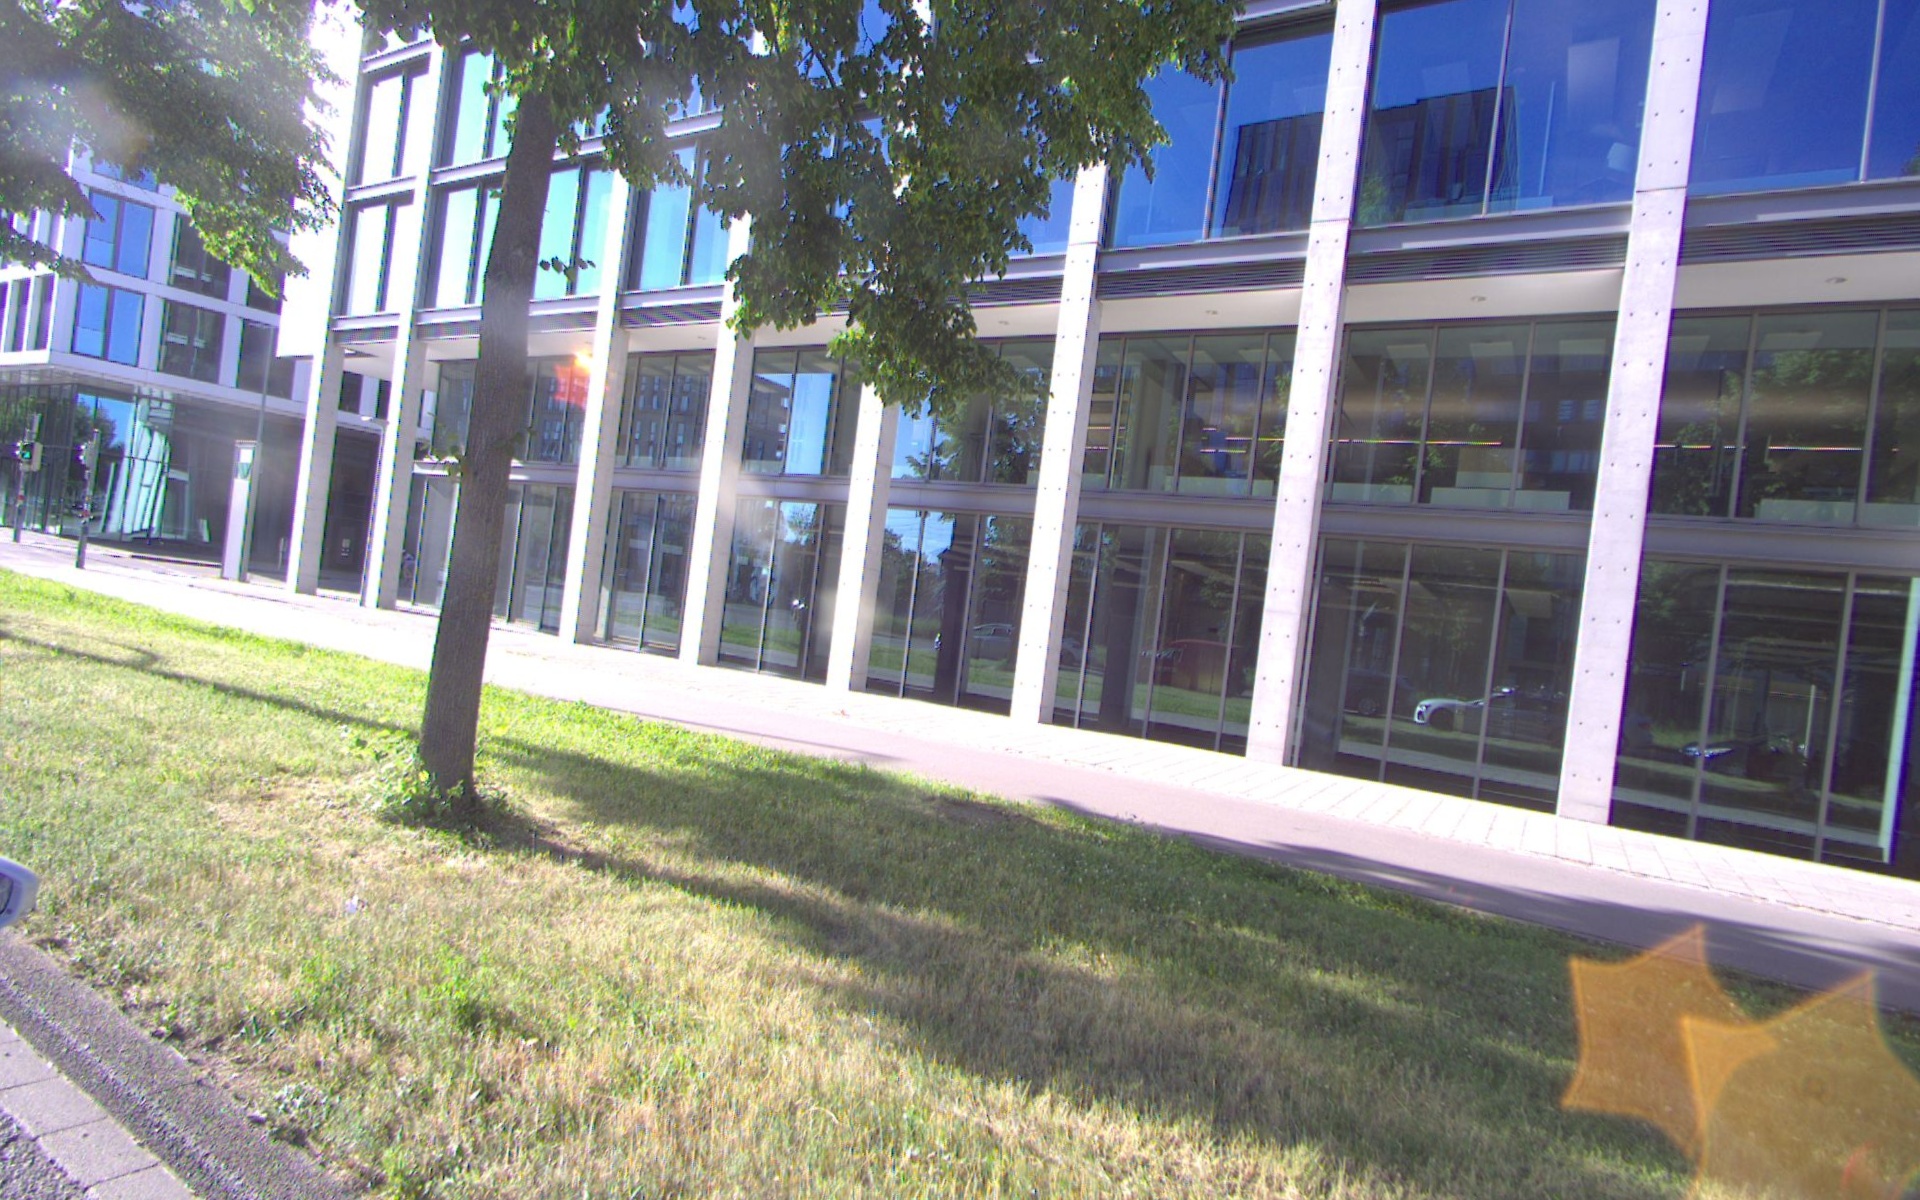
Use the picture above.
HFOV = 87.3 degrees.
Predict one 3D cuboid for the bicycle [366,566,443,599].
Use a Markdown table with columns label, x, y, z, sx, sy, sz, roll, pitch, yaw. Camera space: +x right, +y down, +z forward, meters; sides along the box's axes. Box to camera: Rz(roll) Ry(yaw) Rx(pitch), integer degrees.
| label | x | y | z | sx | sy | sz | roll | pitch | yaw |
| --- | --- | --- | --- | --- | --- | --- | --- | --- | --- |
| bicycle | -24.856 | -0.776 | 45.055 | 2.830 | 1.128 | 0.810 | 8 | -1 | -45 |

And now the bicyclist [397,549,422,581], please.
| label | x | y | z | sx | sy | sz | roll | pitch | yaw |
| --- | --- | --- | --- | --- | --- | --- | --- | --- | --- |
| bicyclist | -24.697 | -1.576 | 45.101 | 0.678 | 1.290 | 0.811 | 7 | 0 | -43 |
